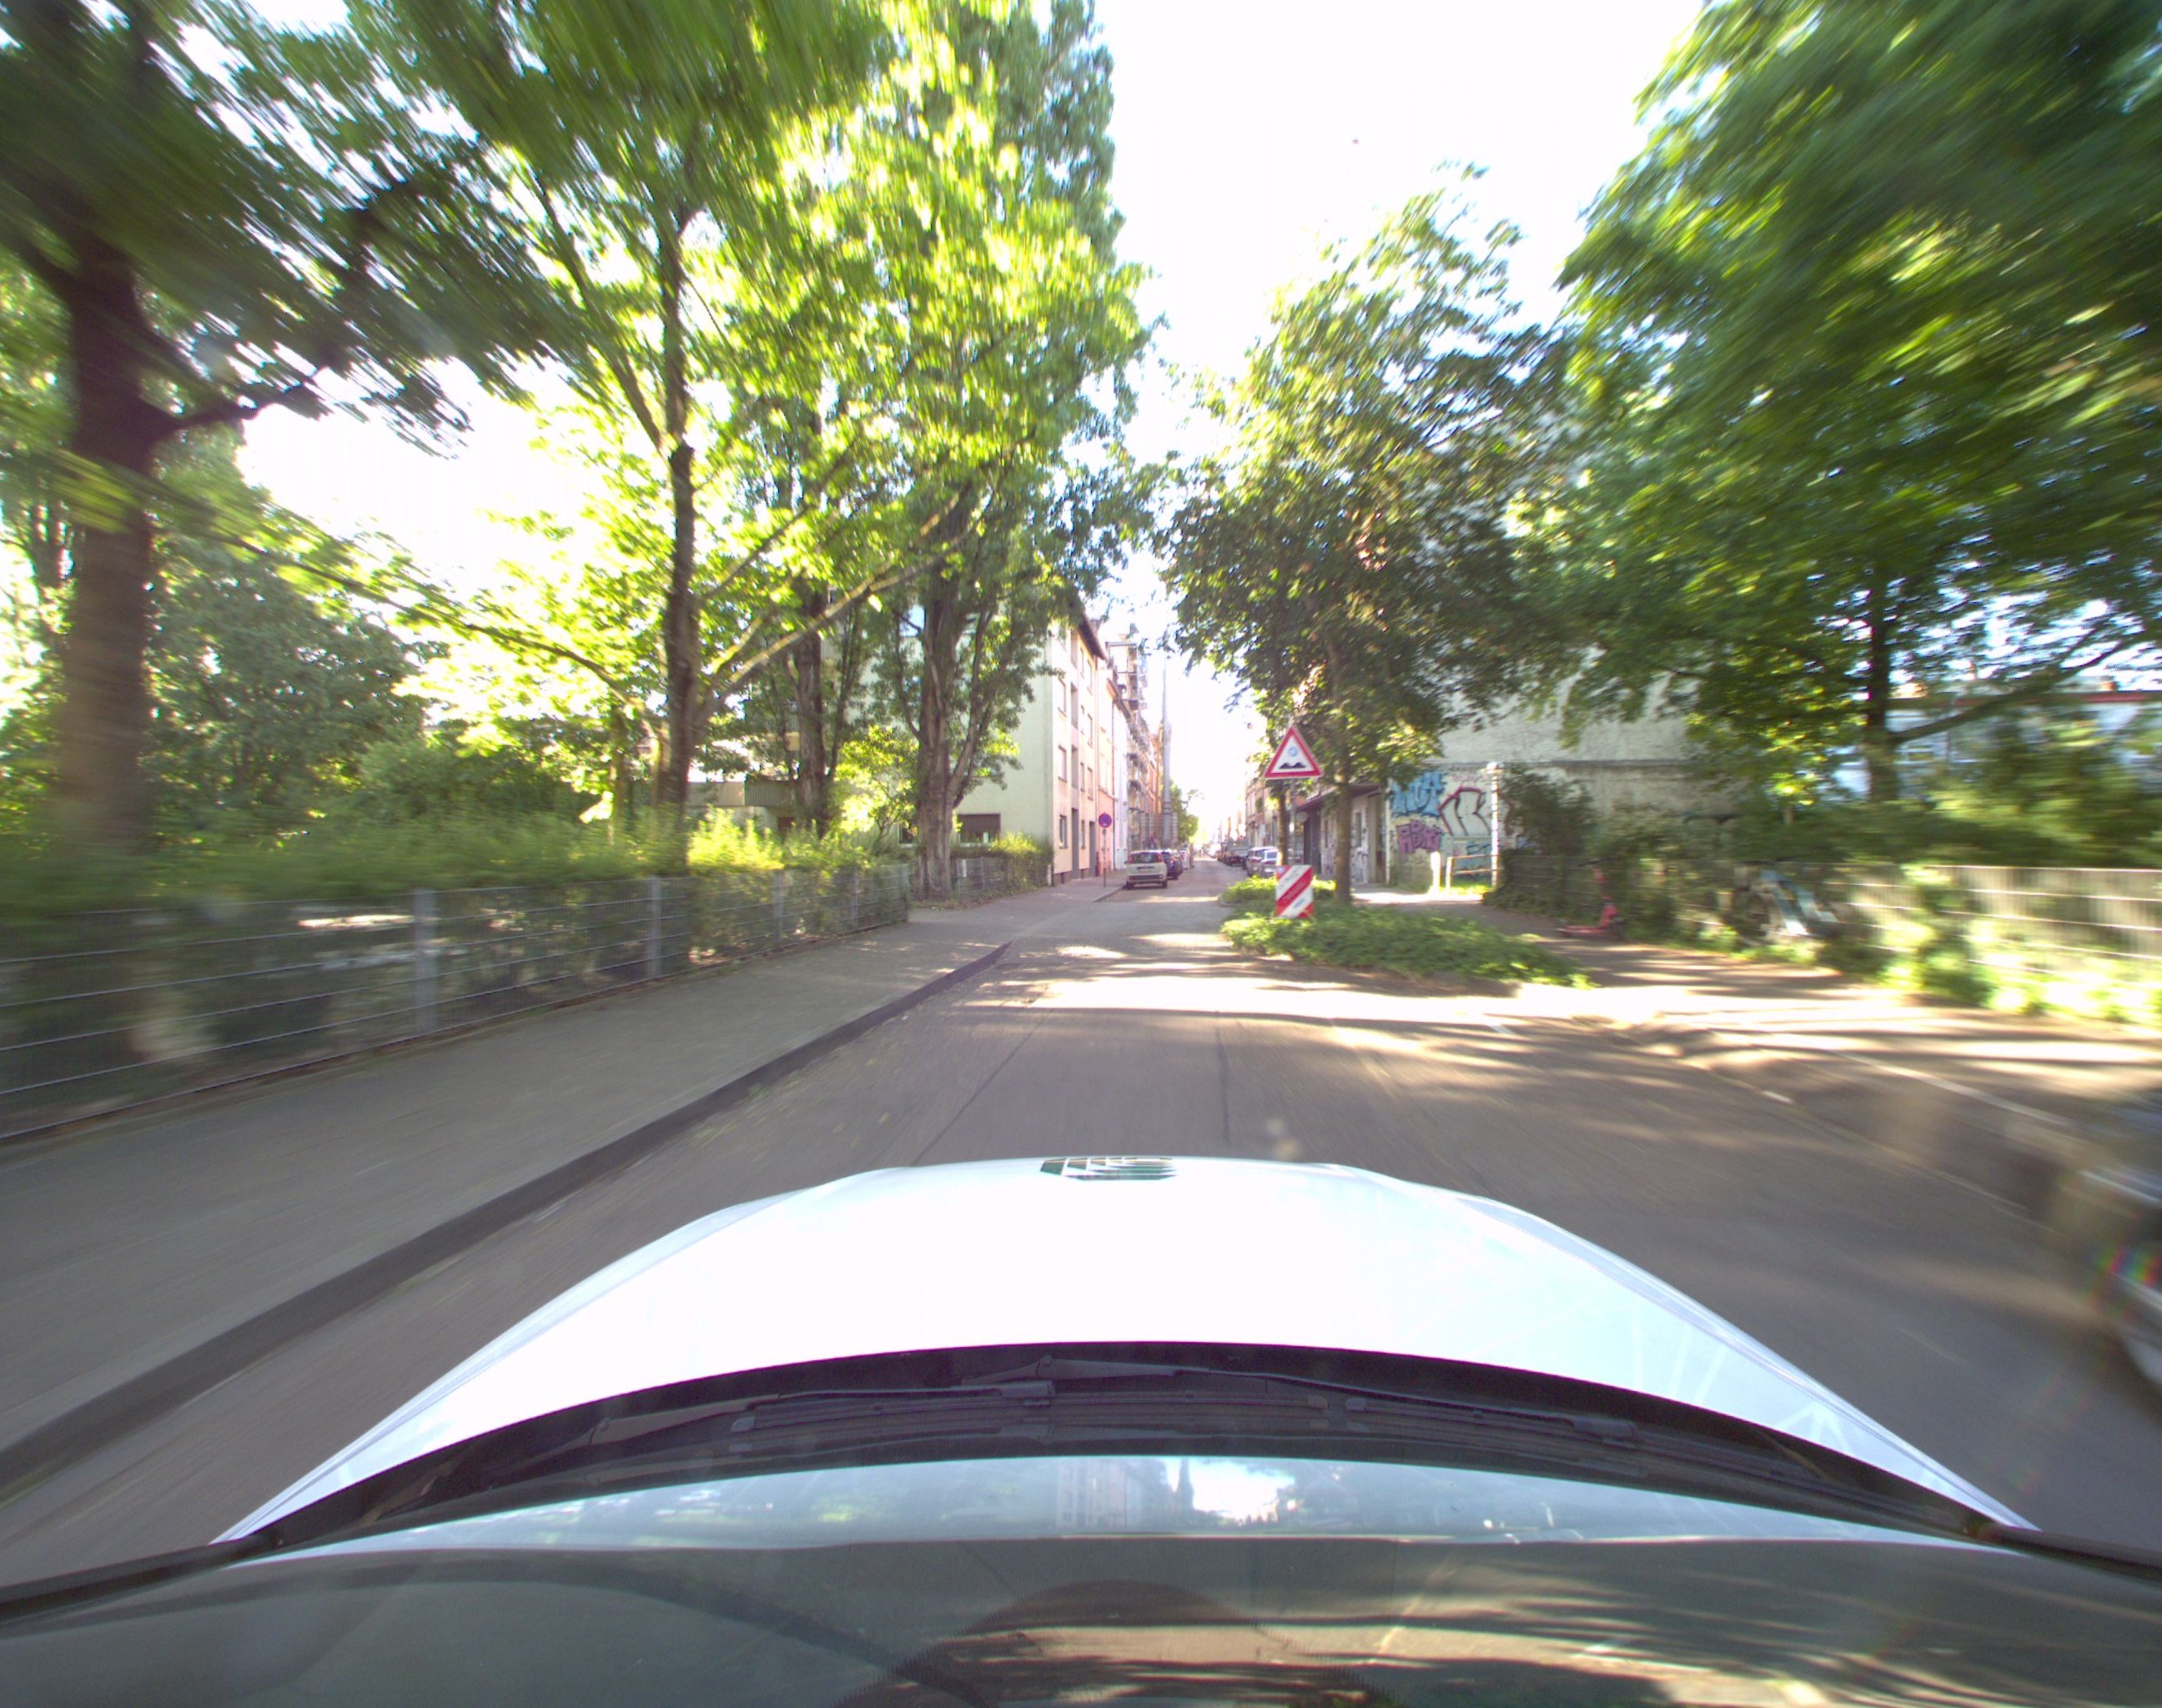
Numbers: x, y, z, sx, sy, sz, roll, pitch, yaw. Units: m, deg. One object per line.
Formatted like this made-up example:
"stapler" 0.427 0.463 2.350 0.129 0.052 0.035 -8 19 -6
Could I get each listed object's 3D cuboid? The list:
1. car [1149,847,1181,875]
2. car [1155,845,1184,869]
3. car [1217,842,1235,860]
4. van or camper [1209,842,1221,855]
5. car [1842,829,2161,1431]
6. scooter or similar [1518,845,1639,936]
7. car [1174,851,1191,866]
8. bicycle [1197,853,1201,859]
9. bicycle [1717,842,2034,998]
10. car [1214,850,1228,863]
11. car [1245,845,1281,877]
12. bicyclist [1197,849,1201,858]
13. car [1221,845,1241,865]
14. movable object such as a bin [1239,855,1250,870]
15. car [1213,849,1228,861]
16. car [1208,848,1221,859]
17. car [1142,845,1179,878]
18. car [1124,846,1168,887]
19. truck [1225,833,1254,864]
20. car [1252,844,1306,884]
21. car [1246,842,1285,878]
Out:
"car" 4.943 0.388 47.445 1.665 1.511 4.425 -2 0 8
"car" 5.832 0.176 53.356 1.665 1.477 4.618 -1 0 8
"car" 17.100 -0.372 96.135 1.666 2.031 3.876 -2 0 6
"van or camper" 26.713 -1.035 162.141 1.984 2.508 4.207 -2 0 4
"car" 3.420 0.670 0.657 1.712 1.494 4.420 -3 0 5
"scooter or similar" 7.378 0.522 12.149 0.547 1.262 1.462 -2 0 -23
"car" 10.672 0.451 86.038 1.666 1.445 3.876 -1 0 6
"bicycle" 21.937 0.391 150.910 0.720 1.186 2.047 0 1 9
"bicycle" 7.538 0.527 8.008 0.841 1.267 2.700 -2 0 10
"car" 22.967 0.402 133.698 1.983 2.013 4.008 -1 0 7
"car" 10.269 0.366 46.165 1.736 1.675 4.352 -1 0 9
"bicyclist" 21.960 -0.064 151.016 0.726 1.761 0.837 0 1 8
"car" 15.401 0.075 83.729 1.666 1.963 4.116 -1 0 6
"movable object such as a bin" 12.283 0.643 61.127 0.790 1.056 0.661 -1 0 8
"car" 18.789 0.123 109.521 1.666 1.571 3.876 -1 0 6
"car" 24.270 -0.104 148.148 1.983 1.849 4.008 -2 0 7
"car" 4.153 0.373 42.256 1.720 1.540 4.385 -2 0 6
"car" 2.724 0.490 33.520 1.666 1.540 3.876 -2 0 6
"truck" 14.216 -0.446 73.268 2.178 2.607 5.245 -2 0 7
"car" 8.326 0.404 34.549 1.712 1.562 4.407 -1 0 7
"car" 9.184 0.285 40.670 1.630 1.656 3.879 -1 0 9
